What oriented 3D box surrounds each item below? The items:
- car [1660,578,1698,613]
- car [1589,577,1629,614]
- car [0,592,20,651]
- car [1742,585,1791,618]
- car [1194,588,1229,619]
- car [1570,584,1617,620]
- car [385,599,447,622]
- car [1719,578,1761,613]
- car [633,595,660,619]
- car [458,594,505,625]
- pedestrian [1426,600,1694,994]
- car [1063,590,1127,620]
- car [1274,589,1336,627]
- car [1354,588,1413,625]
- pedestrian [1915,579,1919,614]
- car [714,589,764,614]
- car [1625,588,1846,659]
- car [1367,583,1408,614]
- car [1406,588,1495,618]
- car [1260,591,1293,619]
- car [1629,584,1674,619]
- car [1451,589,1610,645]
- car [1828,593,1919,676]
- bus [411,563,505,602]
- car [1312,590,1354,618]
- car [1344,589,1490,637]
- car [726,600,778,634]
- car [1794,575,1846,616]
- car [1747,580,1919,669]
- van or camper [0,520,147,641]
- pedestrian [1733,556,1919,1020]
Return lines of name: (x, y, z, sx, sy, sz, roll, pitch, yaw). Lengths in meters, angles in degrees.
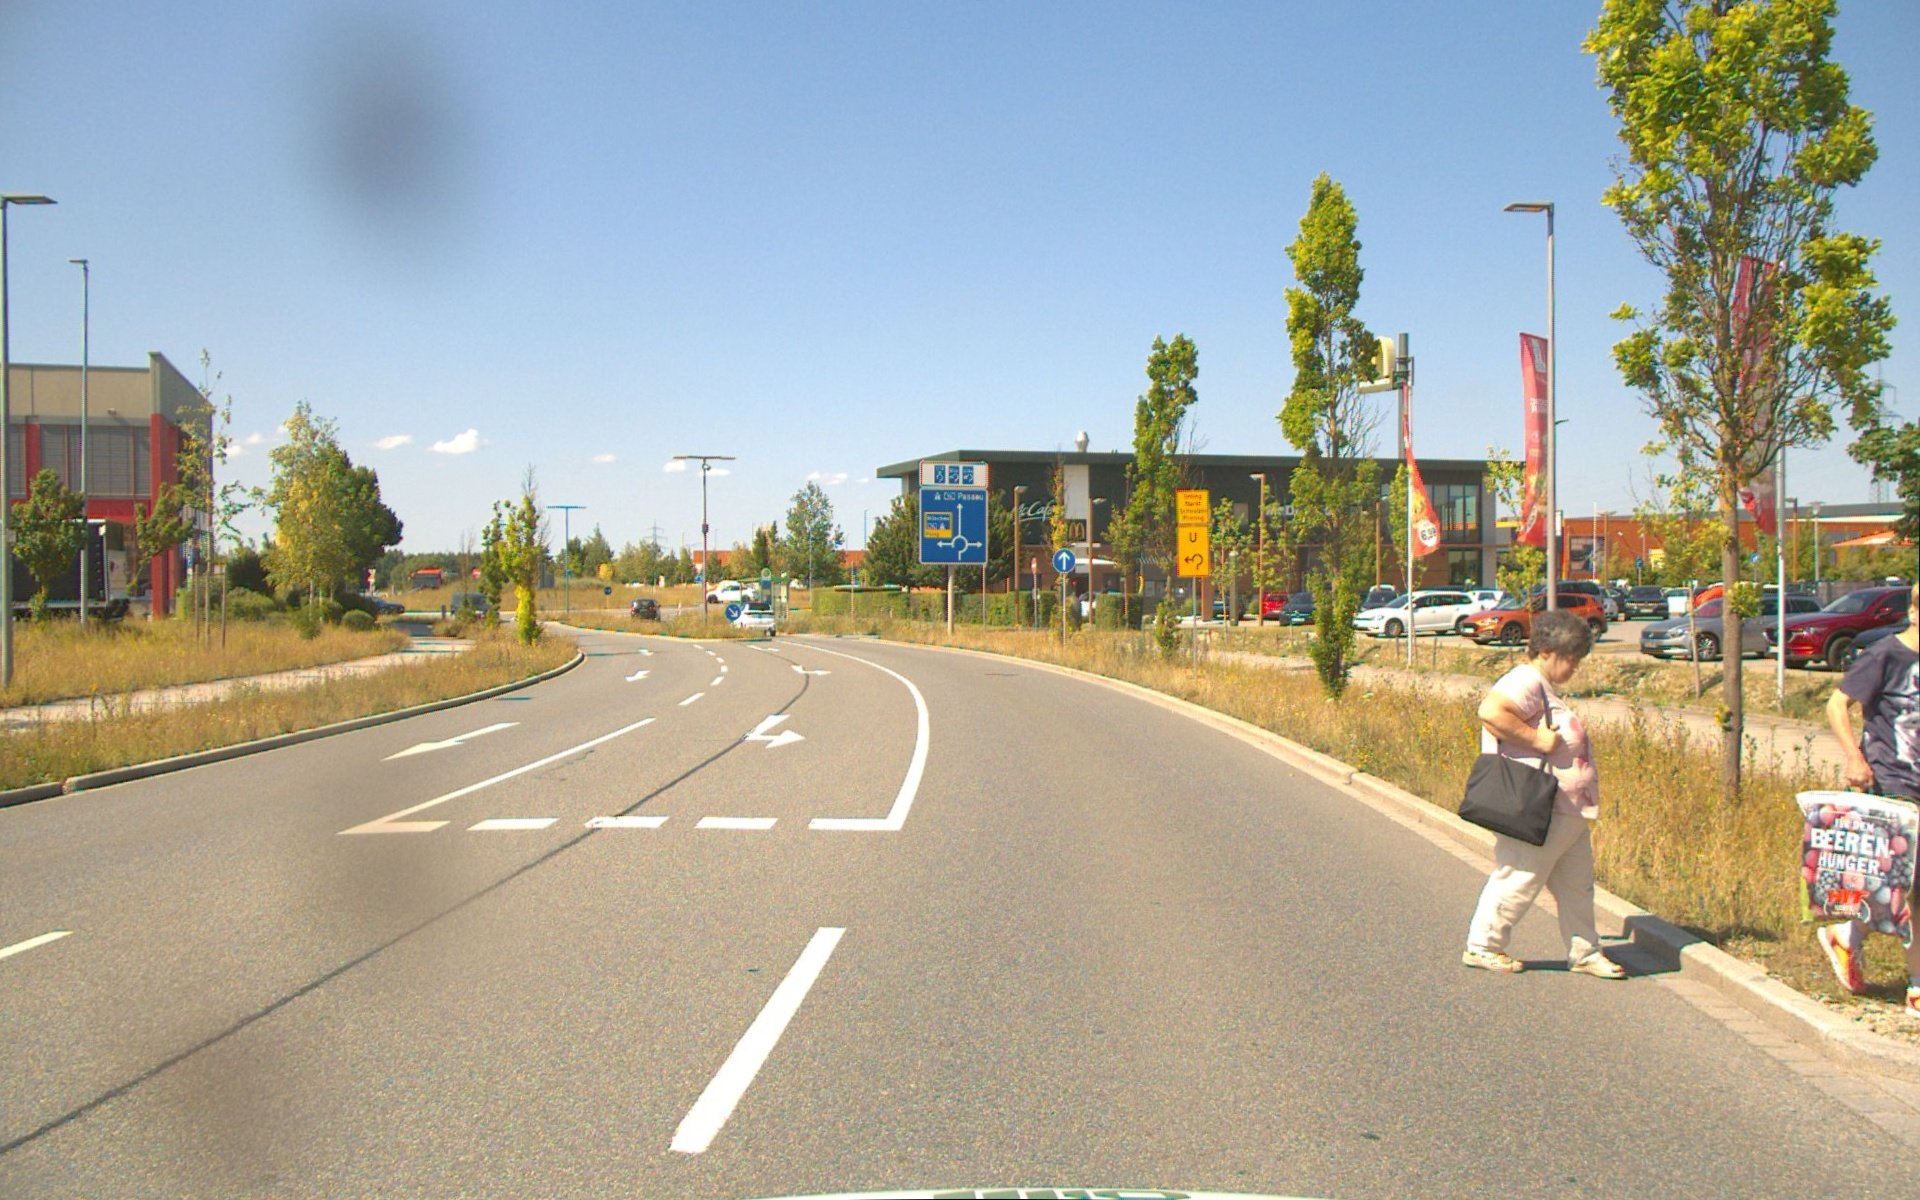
car: (37.225, -0.238, 85.688, 1.749, 1.788, 4.168, -1, 0, 23)
car: (32.439, -0.225, 82.606, 1.749, 1.788, 4.168, -1, 0, 23)
car: (-28.200, 0.589, 44.901, 4.296, 1.579, 1.830, 0, 0, -16)
car: (36.687, 0.058, 75.294, 1.749, 1.476, 4.168, -1, 0, 23)
car: (13.853, 0.187, 90.876, 1.754, 1.632, 4.004, -1, 0, 11)
car: (27.518, 0.071, 71.754, 1.749, 1.476, 4.168, -1, 0, 23)
car: (-36.380, 0.696, 110.615, 3.710, 1.544, 1.773, 0, 0, 23)
car: (40.922, -0.241, 86.833, 1.749, 1.788, 4.168, -1, 0, 23)
car: (-19.862, 0.453, 104.663, 1.588, 1.459, 3.780, 0, 0, -13)
car: (-30.174, 0.592, 104.240, 1.930, 1.826, 4.384, -2, 1, -29)
pedestrian: (2.426, 0.751, 6.795, 0.776, 1.496, 0.949, 0, 0, 1)
car: (6.867, 0.270, 84.623, 1.766, 1.459, 3.976, -1, 0, -20)
car: (13.945, 0.311, 66.739, 1.663, 1.487, 4.168, -1, 0, 23)
car: (17.466, 0.248, 68.111, 1.749, 1.487, 4.168, -1, 0, 23)
pedestrian: (34.563, -0.127, 59.403, 0.374, 1.262, 0.291, -1, 0, -21)
car: (-18.727, 0.136, 140.112, 3.903, 2.049, 1.835, 0, 0, 4)
car: (18.340, 0.526, 39.186, 4.471, 1.516, 1.865, -1, 1, -9)
car: (24.419, -0.081, 94.394, 1.756, 1.731, 4.000, -1, 0, 21)
car: (23.823, 0.132, 80.373, 3.909, 1.397, 1.797, -1, 0, 27)
car: (17.481, 0.254, 91.456, 1.754, 1.459, 4.004, -1, 0, 11)
car: (30.357, 0.068, 72.609, 1.749, 1.476, 4.168, -1, 0, 23)
car: (16.870, 0.477, 48.971, 4.132, 1.516, 1.863, -1, 1, -13)
car: (19.258, 0.616, 32.082, 4.080, 1.474, 1.786, -1, 1, -12)
bus: (-45.353, -1.677, 149.951, 2.727, 3.132, 12.216, -1, 2, 11)
car: (20.927, 0.209, 92.656, 1.755, 1.539, 4.001, -1, 0, 20)
car: (15.547, 0.415, 56.341, 4.447, 1.516, 1.863, -1, 1, -13)
car: (-9.204, 0.743, 72.968, 1.592, 1.459, 3.772, 0, 0, -19)
car: (39.443, -0.214, 75.906, 1.749, 1.788, 4.168, -1, 0, 23)
car: (18.869, 0.483, 34.464, 4.073, 1.694, 1.867, -1, 1, -6)
van or camper: (-28.677, -0.571, 49.286, 7.563, 3.529, 2.546, 0, 0, -15)
pedestrian: (3.526, 0.672, 6.311, 0.784, 1.658, 0.805, 0, 0, 1)
